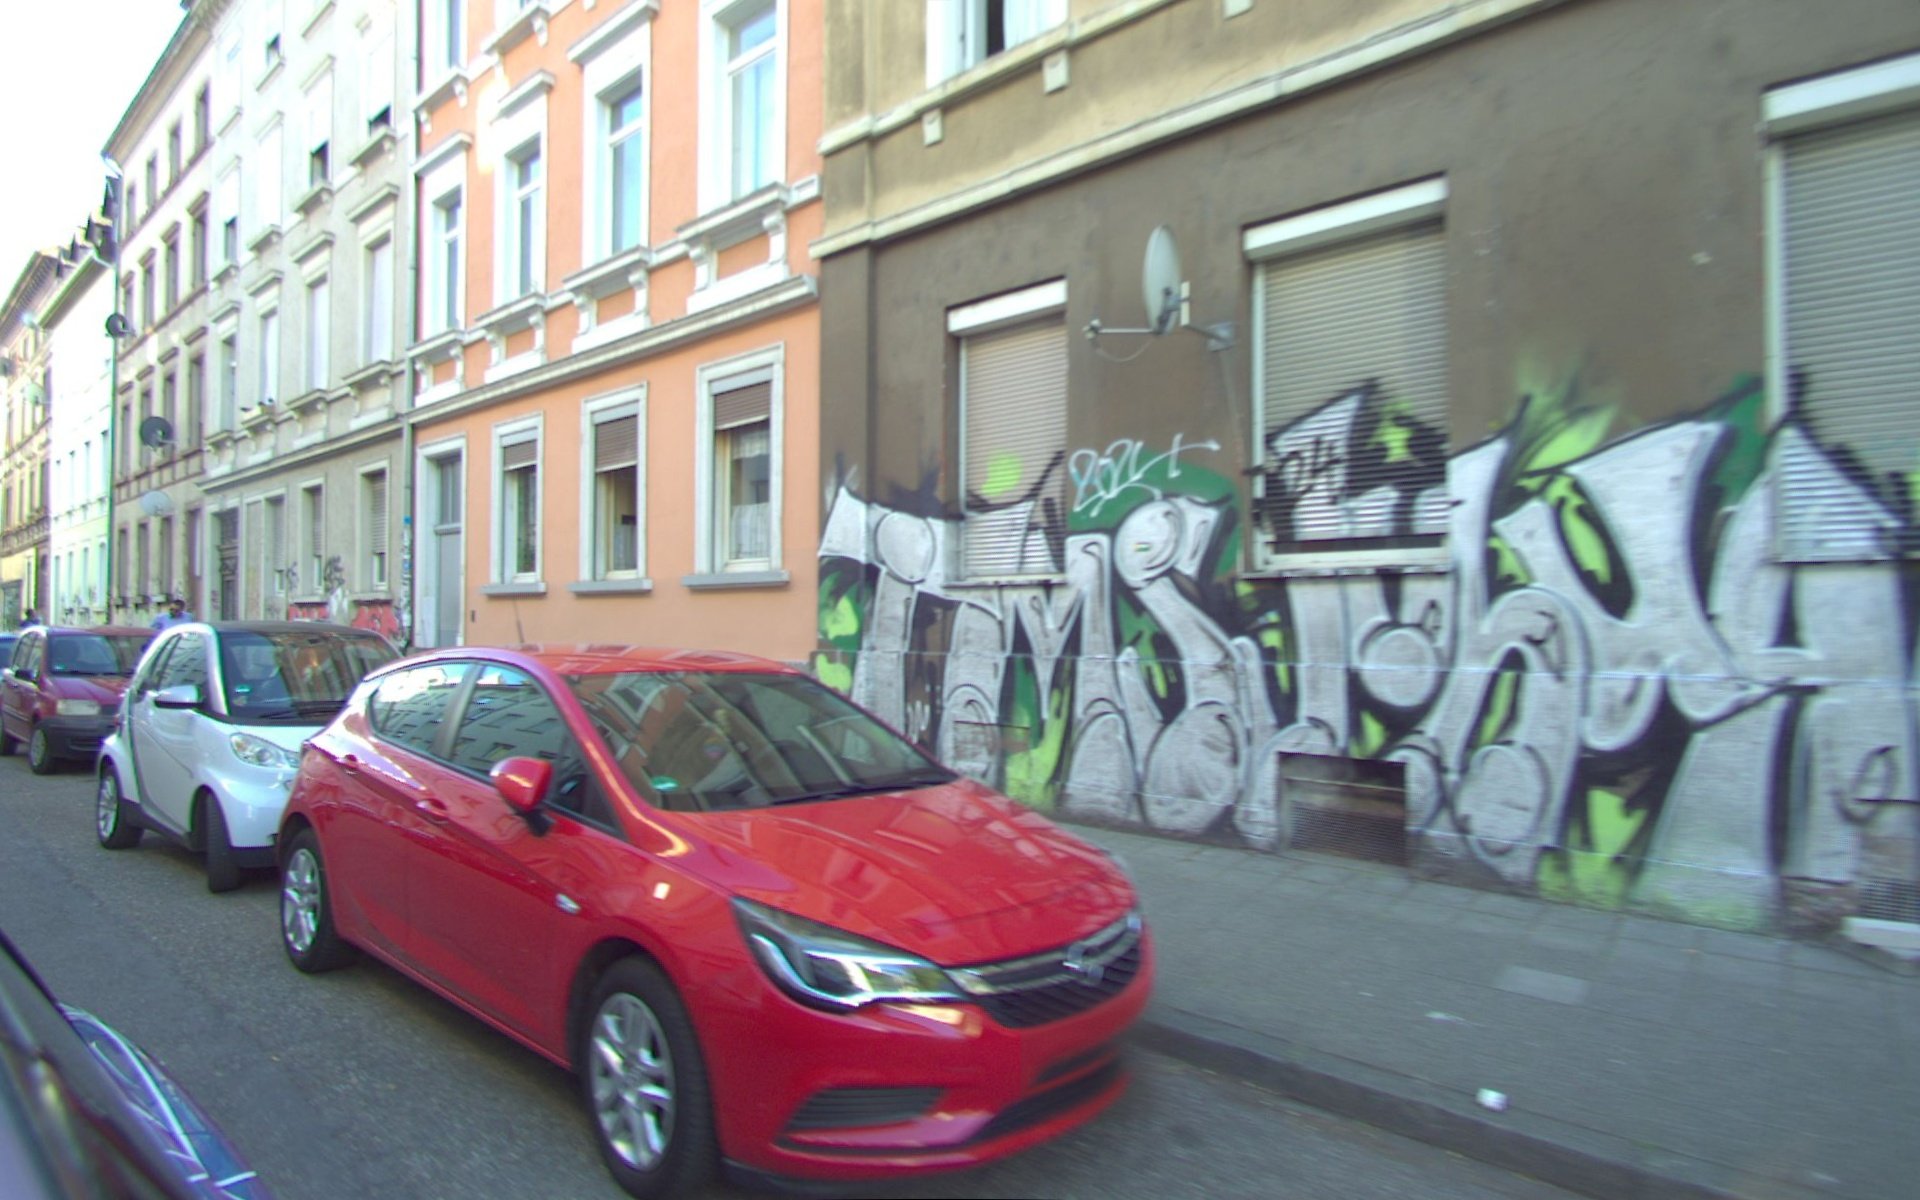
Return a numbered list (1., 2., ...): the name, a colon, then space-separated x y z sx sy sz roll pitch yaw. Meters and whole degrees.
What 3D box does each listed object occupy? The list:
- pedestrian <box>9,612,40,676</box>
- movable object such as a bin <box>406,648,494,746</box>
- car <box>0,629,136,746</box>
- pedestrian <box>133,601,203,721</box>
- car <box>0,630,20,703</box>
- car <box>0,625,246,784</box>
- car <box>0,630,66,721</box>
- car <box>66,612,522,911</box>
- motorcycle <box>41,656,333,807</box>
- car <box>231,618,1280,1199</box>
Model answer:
1. pedestrian: -27.682 1.286 29.956 0.594 1.845 0.618 -2 -1 42
2. movable object such as a bin: -6.010 1.118 11.921 0.768 1.057 0.663 -1 0 -41
3. car: -13.429 1.163 14.602 4.311 1.474 1.661 -1 -2 41
4. pedestrian: -12.607 0.943 16.106 0.594 1.845 0.780 -2 -1 41
5. car: -21.130 1.357 21.233 3.858 1.474 1.661 -1 -2 41
6. car: -9.603 1.040 11.351 3.607 1.504 1.663 -1 -2 39
7. car: -17.128 1.278 17.945 1.660 1.474 3.862 2 -3 -45
8. car: -4.574 0.908 6.884 2.955 1.561 1.663 -1 -3 37
9. motorcycle: -7.037 1.135 9.371 0.784 1.137 2.068 -1 -1 19
10. car: -1.127 0.864 3.893 4.199 1.485 1.662 -1 -4 40
